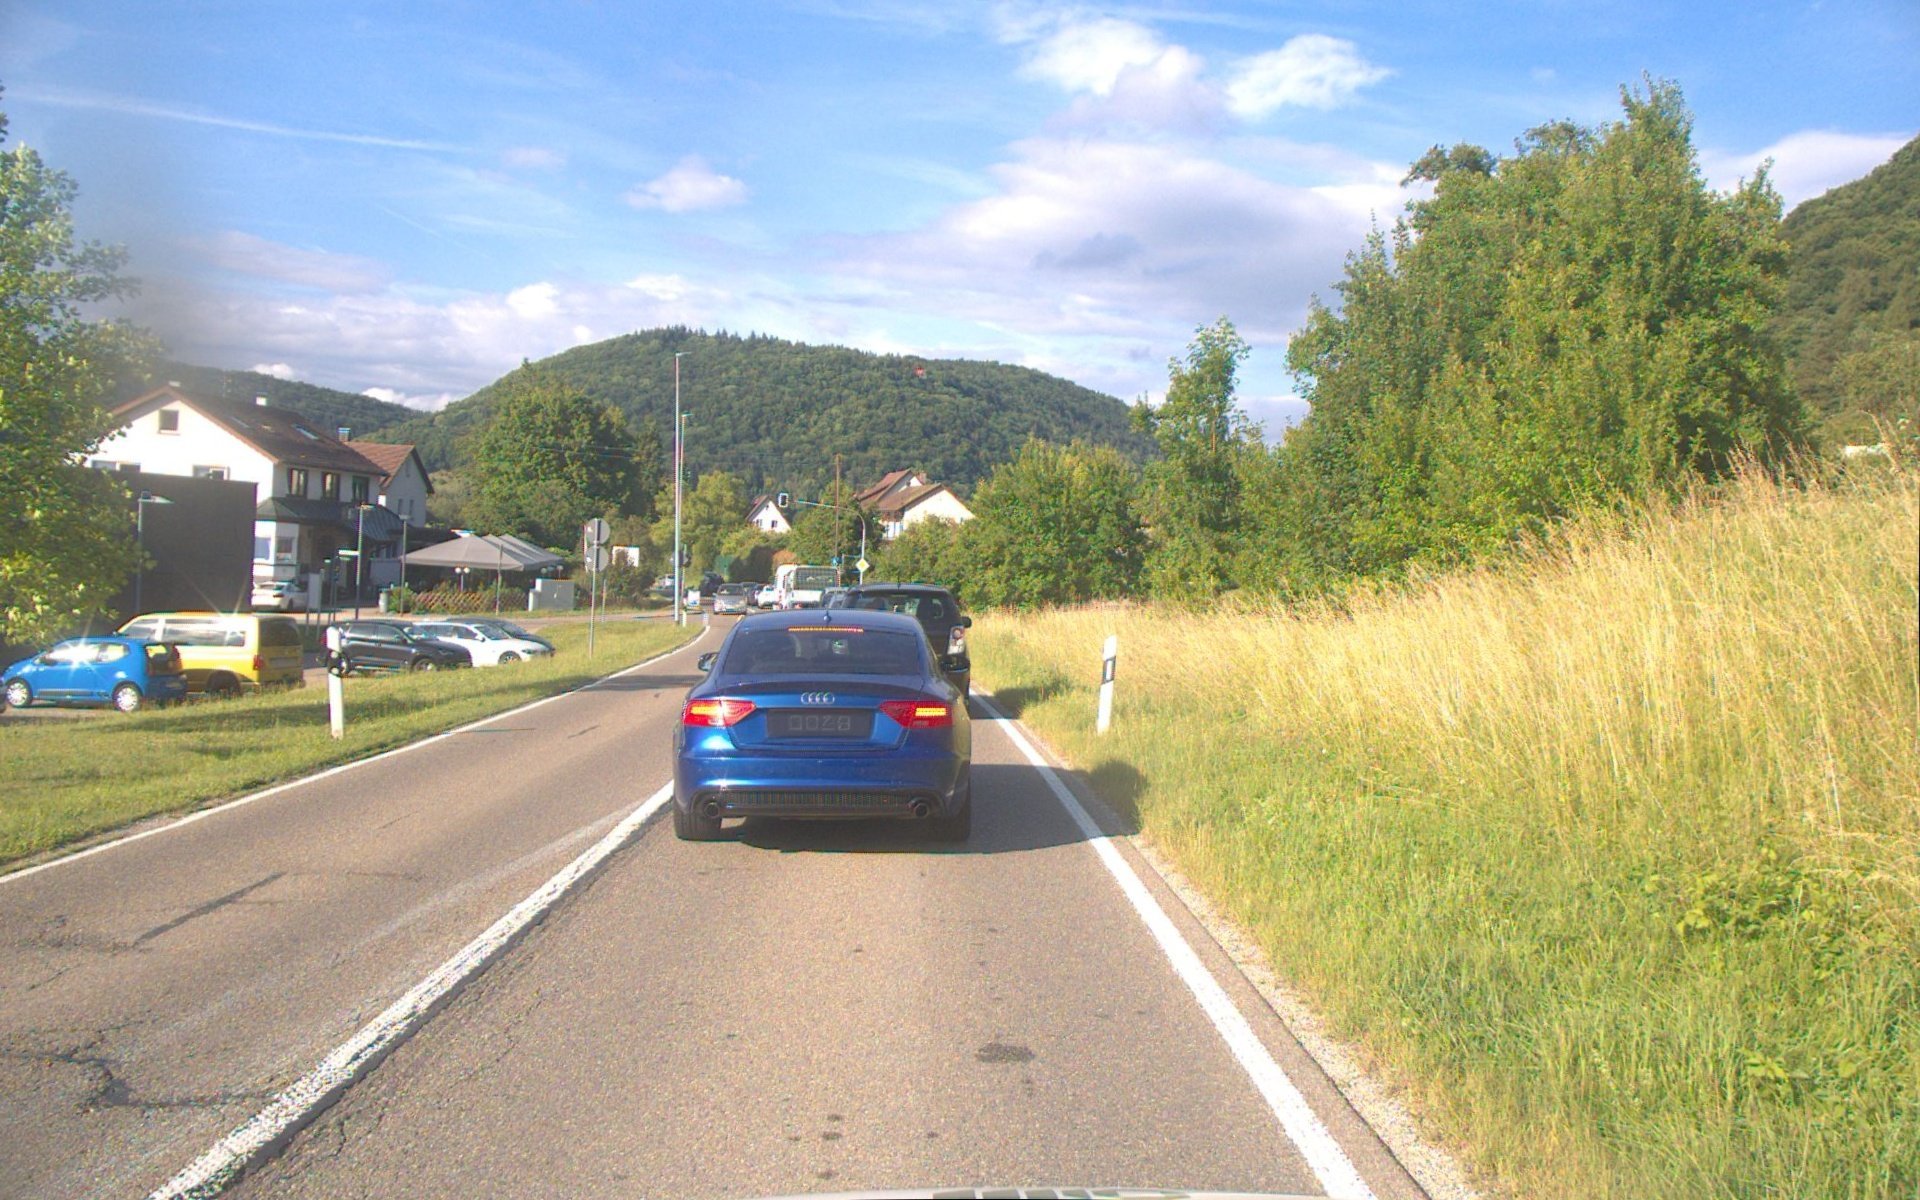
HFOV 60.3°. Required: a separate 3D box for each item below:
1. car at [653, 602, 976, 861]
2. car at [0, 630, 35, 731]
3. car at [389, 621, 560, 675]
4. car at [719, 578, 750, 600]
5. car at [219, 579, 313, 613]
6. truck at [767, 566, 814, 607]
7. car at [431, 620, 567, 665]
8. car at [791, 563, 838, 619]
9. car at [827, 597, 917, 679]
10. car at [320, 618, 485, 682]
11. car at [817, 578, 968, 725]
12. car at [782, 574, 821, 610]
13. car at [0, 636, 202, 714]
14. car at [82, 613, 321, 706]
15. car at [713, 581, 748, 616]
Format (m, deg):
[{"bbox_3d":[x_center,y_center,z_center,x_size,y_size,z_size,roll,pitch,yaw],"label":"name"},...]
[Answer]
[{"bbox_3d":[-0.785,0.732,11.030,1.758,1.412,4.000,0,0,0],"label":"car"},{"bbox_3d":[-18.799,1.358,28.696,4.442,1.733,2.001,1,-1,8],"label":"car"},{"bbox_3d":[-15.064,1.473,51.427,4.711,1.520,1.882,1,-1,8],"label":"car"},{"bbox_3d":[-16.466,-0.778,120.660,1.670,1.516,3.510,1,0,-17],"label":"car"},{"bbox_3d":[-31.990,-0.160,76.386,1.728,1.467,4.001,1,0,20],"label":"car"},{"bbox_3d":[-8.800,-0.660,85.513,1.668,1.988,5.902,1,0,-13],"label":"truck"},{"bbox_3d":[-15.027,1.375,54.043,3.903,1.333,1.761,1,0,3],"label":"car"},{"bbox_3d":[-6.084,-0.346,68.930,1.713,2.234,3.992,1,0,-8],"label":"car"},{"bbox_3d":[-1.903,0.808,36.808,1.768,1.668,4.462,1,0,-1],"label":"car"},{"bbox_3d":[-15.803,1.396,46.985,3.939,1.666,2.001,1,-1,8],"label":"car"},{"bbox_3d":[-0.770,0.614,21.142,1.710,1.668,4.000,1,0,0],"label":"car"},{"bbox_3d":[-7.733,-0.389,80.370,1.713,1.668,3.992,1,0,-8],"label":"car"},{"bbox_3d":[-17.879,1.541,34.414,3.419,1.498,1.634,1,-1,6],"label":"car"},{"bbox_3d":[-16.927,1.295,36.999,4.512,1.900,2.002,1,-1,11],"label":"car"},{"bbox_3d":[-11.714,-0.060,84.177,1.702,1.691,3.464,1,0,-9],"label":"car"}]
